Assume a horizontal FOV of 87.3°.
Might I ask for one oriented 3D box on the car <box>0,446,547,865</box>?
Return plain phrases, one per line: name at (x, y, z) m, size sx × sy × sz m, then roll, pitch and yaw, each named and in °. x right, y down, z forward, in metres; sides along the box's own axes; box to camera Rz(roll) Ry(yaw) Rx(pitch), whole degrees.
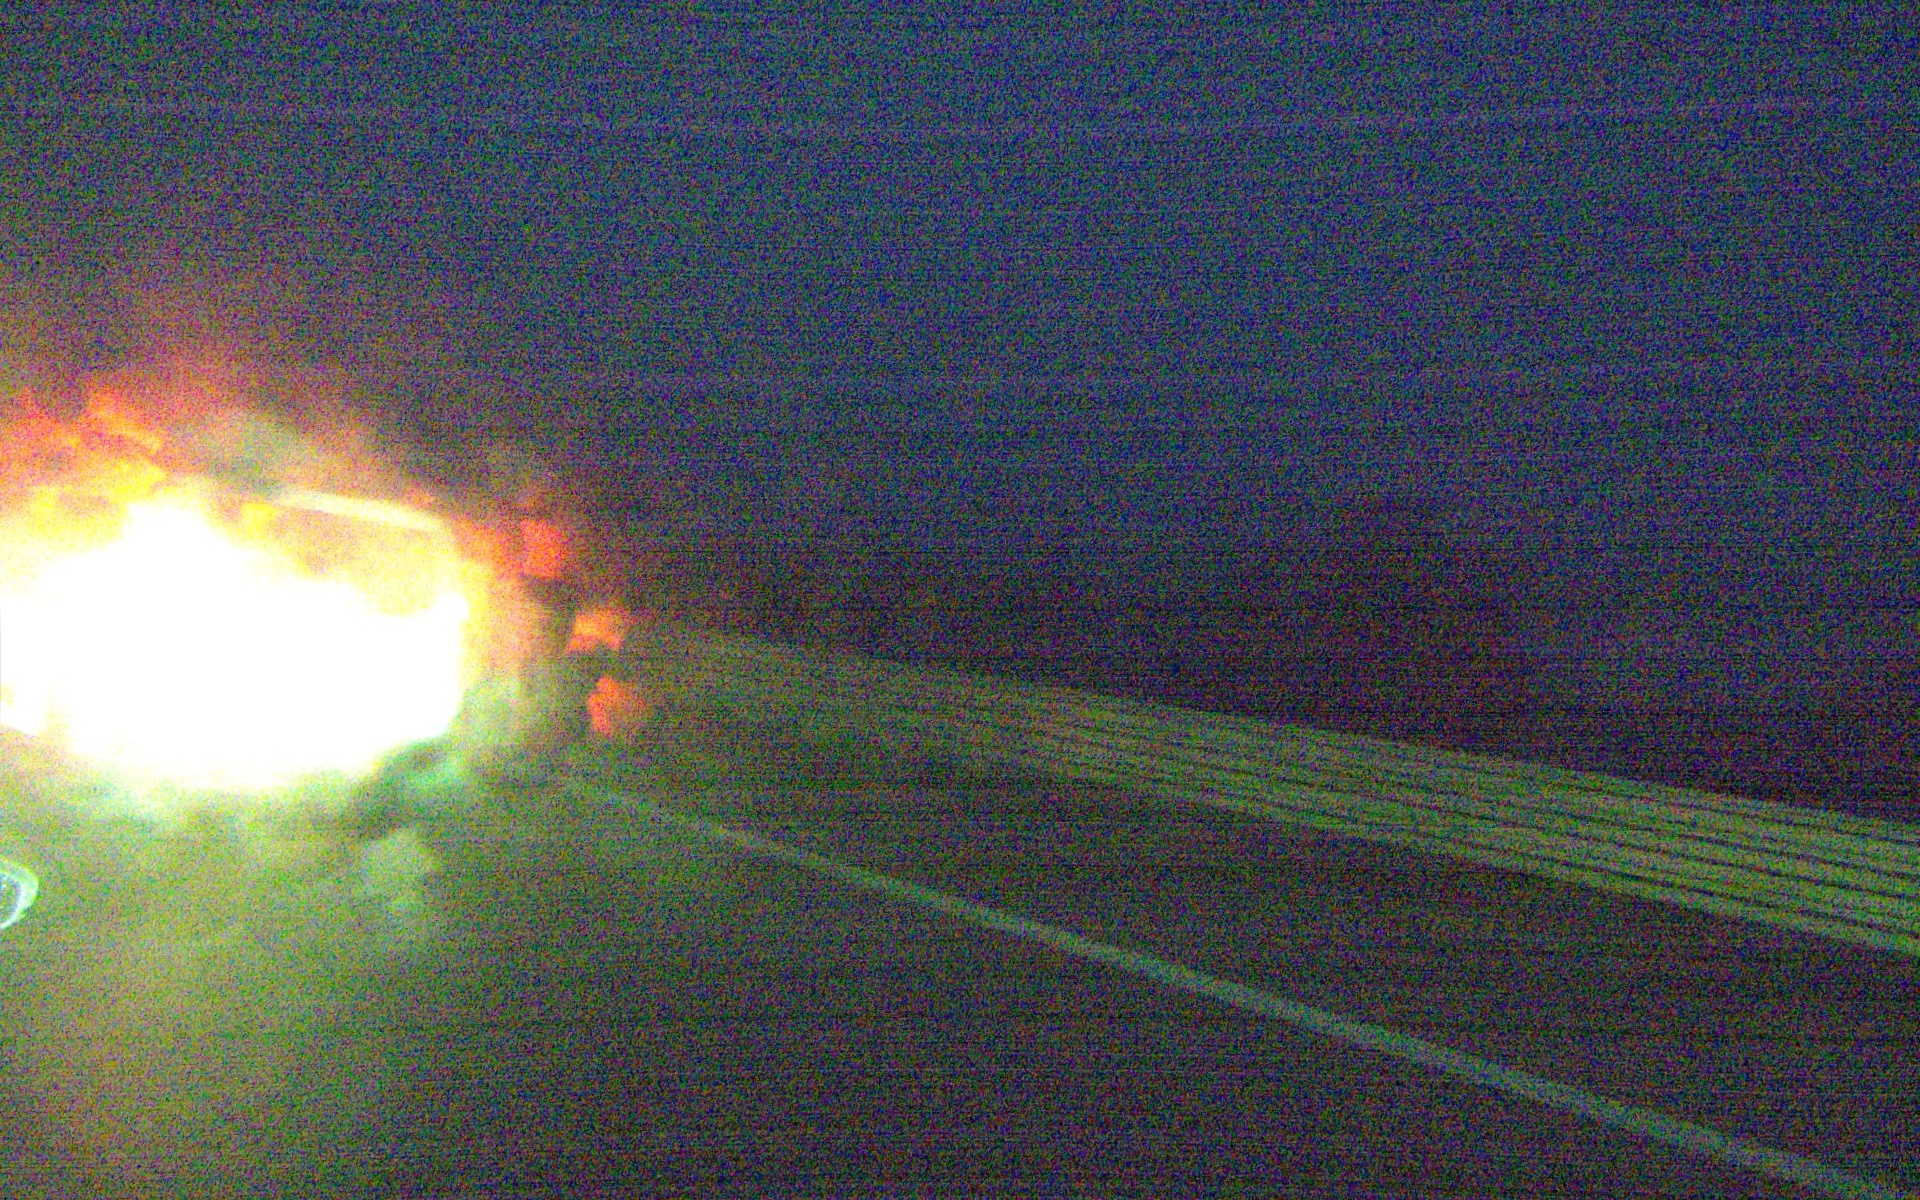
car at (-5.231, 0.100, 6.596) m, size 5.039 × 1.813 × 1.956 m, roll 7°, pitch -1°, yaw 32°
